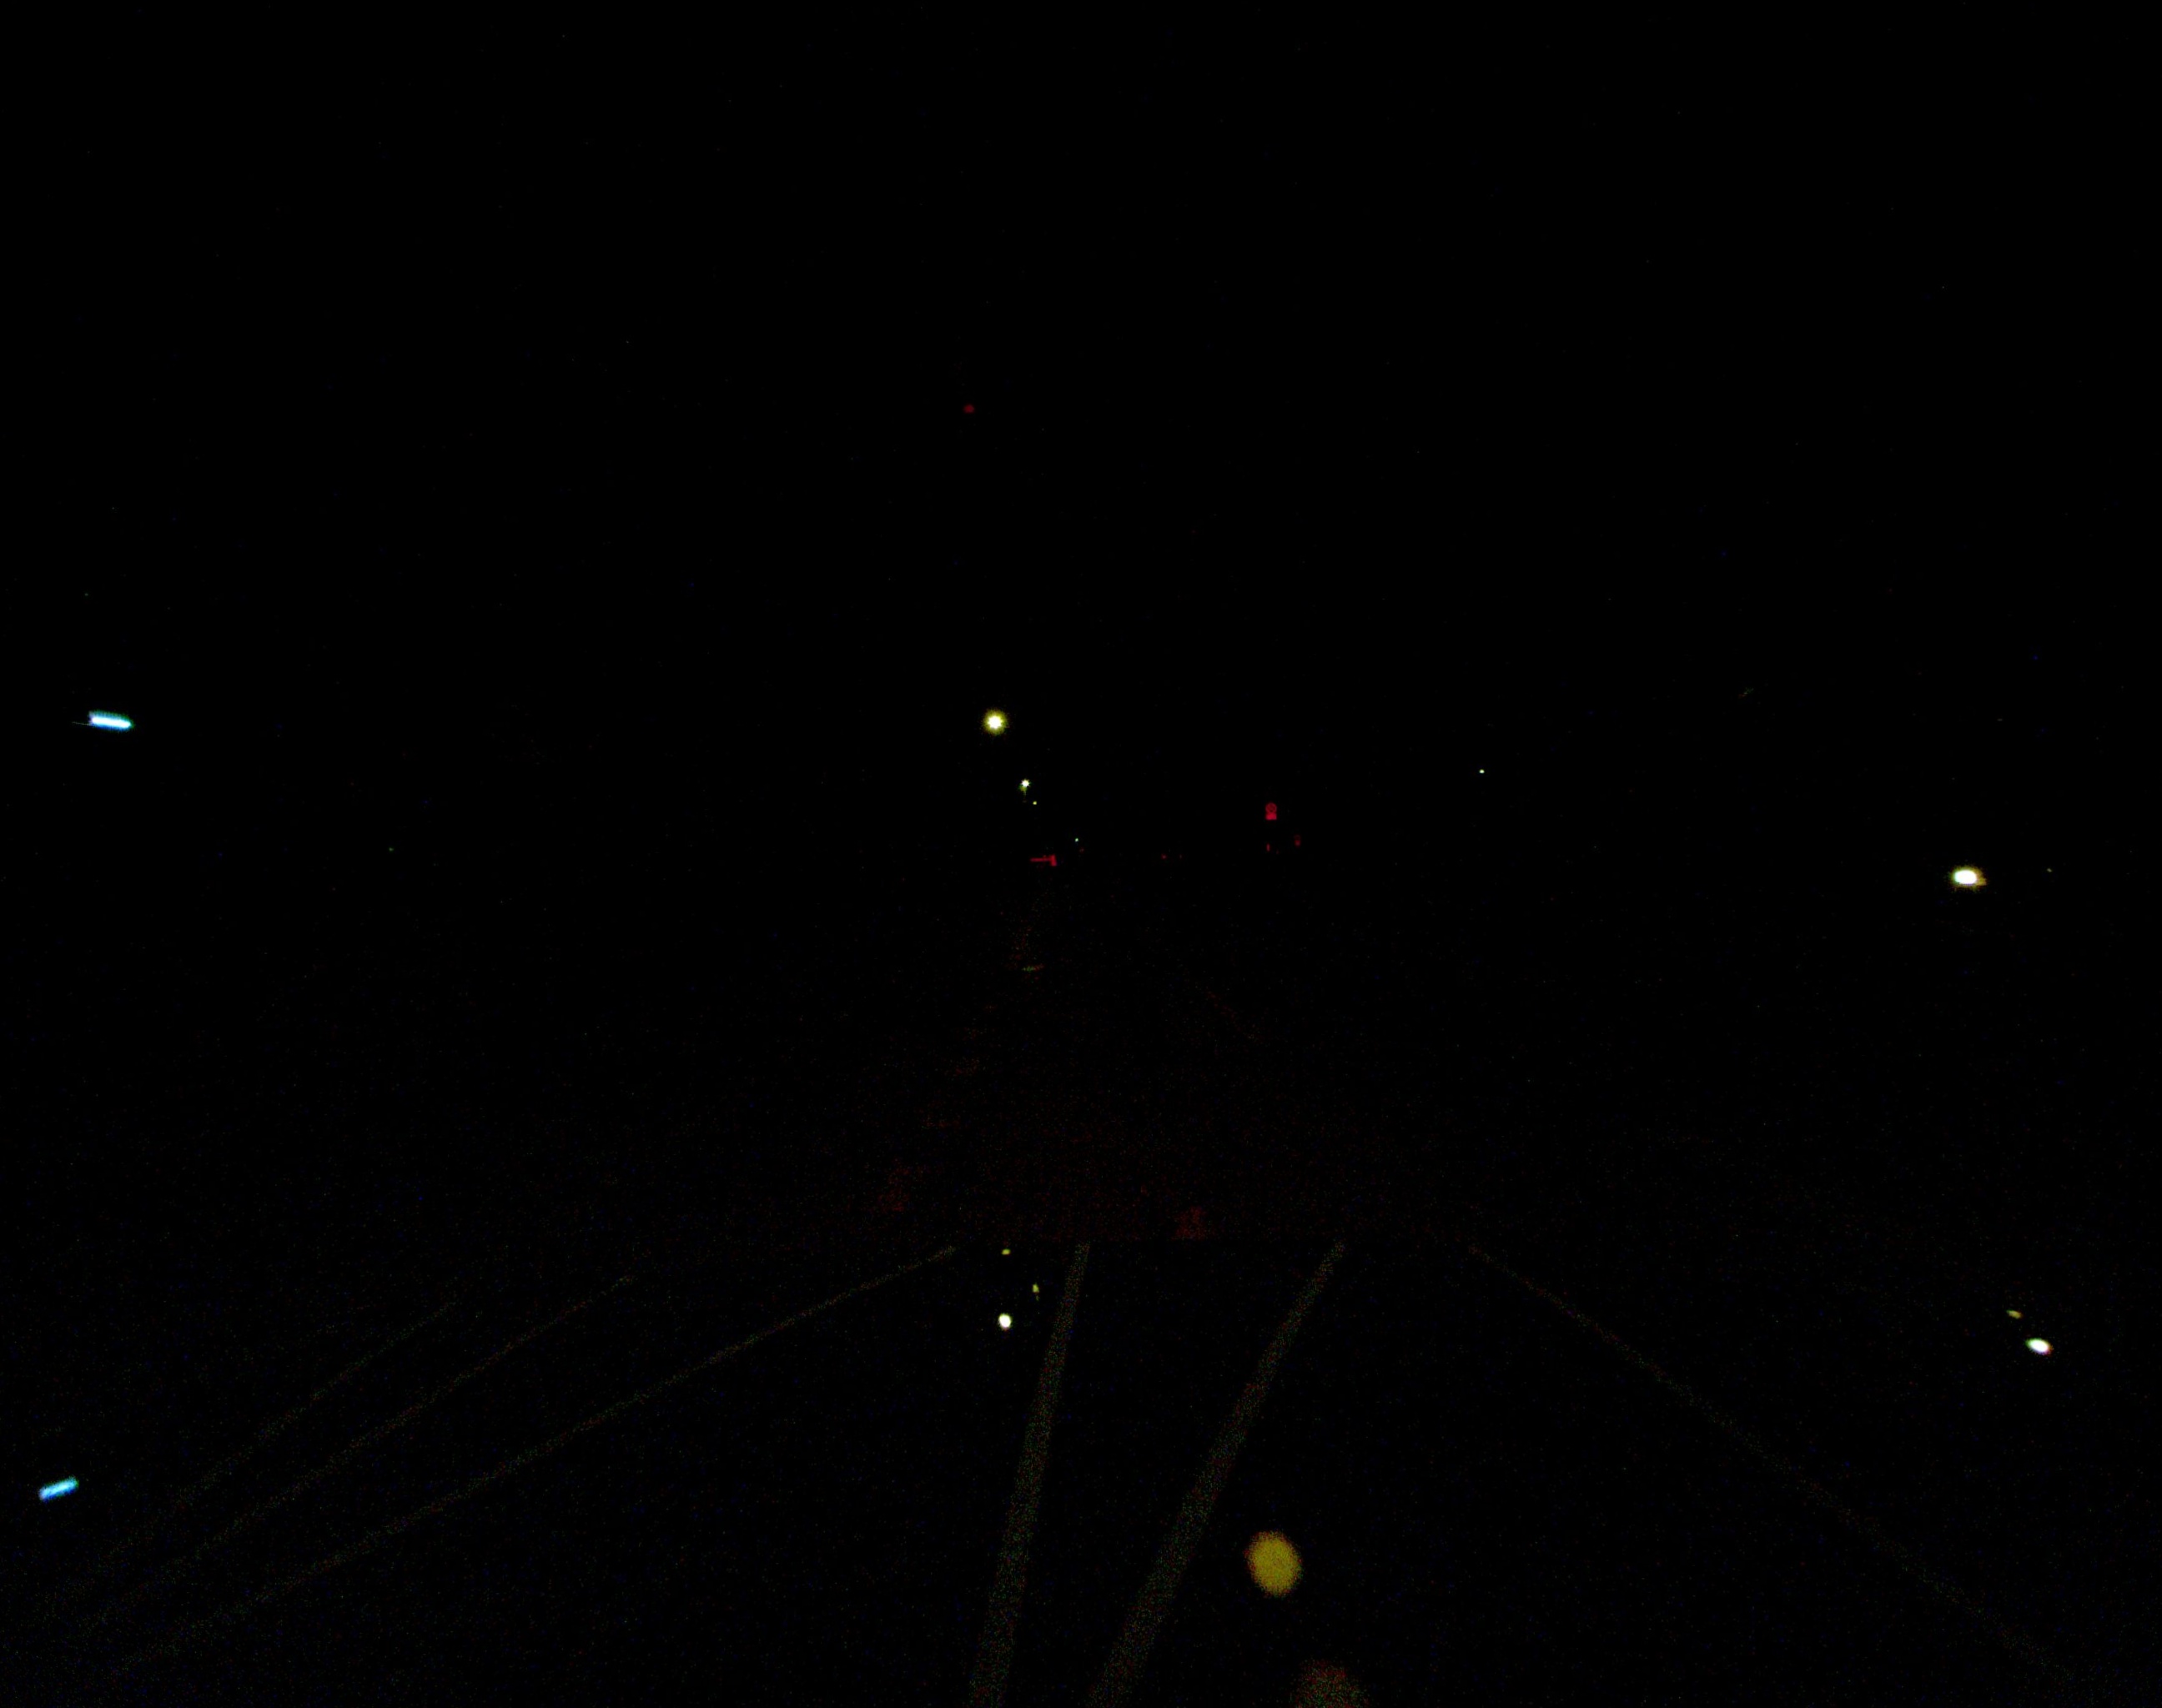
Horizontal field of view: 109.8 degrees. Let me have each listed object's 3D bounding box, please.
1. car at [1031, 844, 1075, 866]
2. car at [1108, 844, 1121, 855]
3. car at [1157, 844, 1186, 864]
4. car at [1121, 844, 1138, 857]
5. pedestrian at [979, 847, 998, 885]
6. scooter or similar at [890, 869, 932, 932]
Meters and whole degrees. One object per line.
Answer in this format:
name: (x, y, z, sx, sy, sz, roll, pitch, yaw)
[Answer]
car: (-2.581, 0.107, 70.843, 3.997, 1.820, 1.913, -3, 0, 0)
car: (5.138, -0.712, 116.715, 1.911, 1.445, 3.999, -3, 2, 1)
car: (7.224, -0.025, 61.012, 1.911, 1.445, 3.999, -3, 2, 1)
car: (6.394, -0.481, 100.473, 1.911, 1.445, 3.999, -3, 2, 1)
pedestrian: (-4.640, 0.596, 38.143, 0.824, 1.809, 0.608, -3, 2, 1)
scooter or similar: (-3.626, 0.965, 16.297, 0.570, 1.271, 1.391, 0, 0, 0)
